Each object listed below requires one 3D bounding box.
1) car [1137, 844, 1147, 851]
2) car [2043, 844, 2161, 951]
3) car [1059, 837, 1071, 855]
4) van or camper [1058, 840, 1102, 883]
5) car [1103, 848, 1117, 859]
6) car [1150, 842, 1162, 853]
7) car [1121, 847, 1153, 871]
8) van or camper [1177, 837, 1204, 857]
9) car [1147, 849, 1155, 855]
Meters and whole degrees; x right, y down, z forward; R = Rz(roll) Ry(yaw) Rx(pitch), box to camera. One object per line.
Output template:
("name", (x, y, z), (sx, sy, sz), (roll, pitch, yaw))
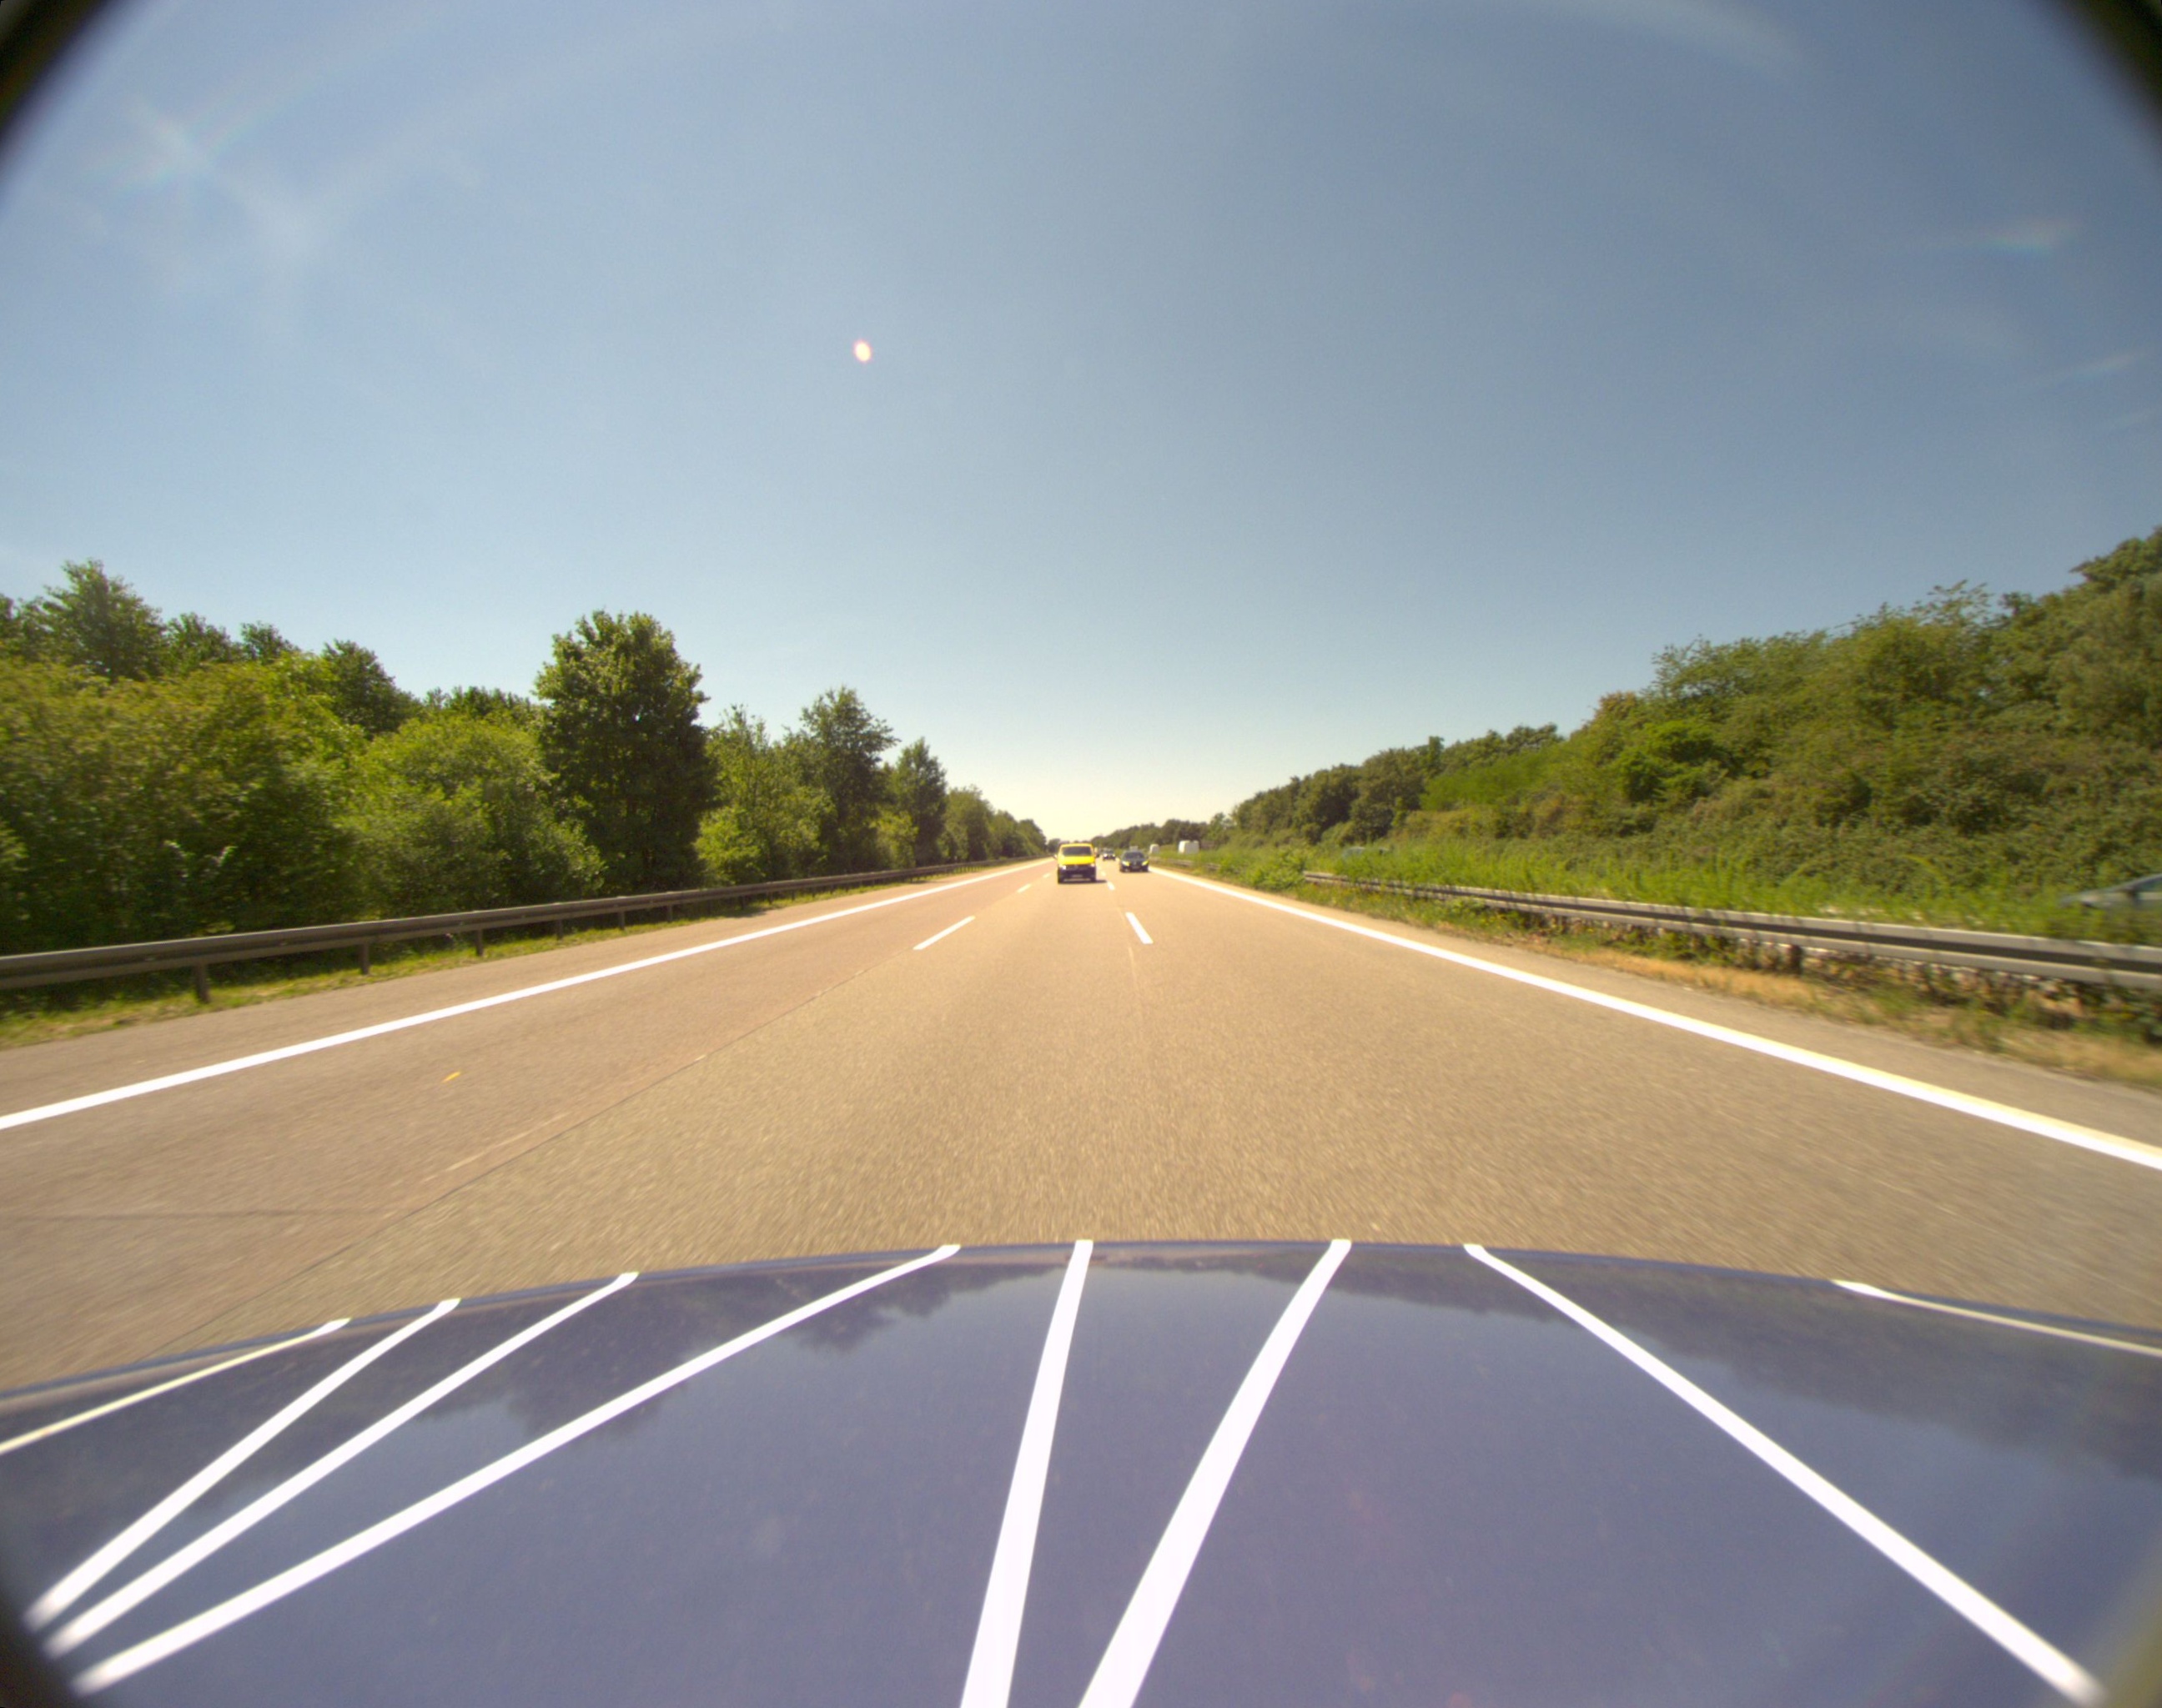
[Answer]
("car", (14.252, -1.557, 178.051), (1.998, 1.558, 5.043), (0, 1, 0))
("car", (20.370, 0.788, 13.146), (1.998, 1.904, 4.303), (-1, 1, 0))
("car", (-3.700, -1.864, 177.127), (2.298, 3.886, 9.267), (1, 1, 0))
("van or camper", (0.039, 0.342, 38.638), (2.063, 1.992, 5.884), (-1, 1, 2))
("car", (4.249, -0.066, 111.049), (1.894, 1.541, 4.038), (1, 1, 0))
("car", (18.012, -1.544, 182.535), (2.041, 2.731, 6.657), (1, 1, 0))
("car", (3.828, 0.333, 52.806), (1.894, 1.541, 4.038), (1, 1, 0))
("van or camper", (13.653, -0.888, 95.370), (2.431, 2.352, 6.335), (-2, 1, 0))
("car", (19.475, -0.595, 210.115), (1.746, 1.499, 4.415), (-2, 1, 0))
